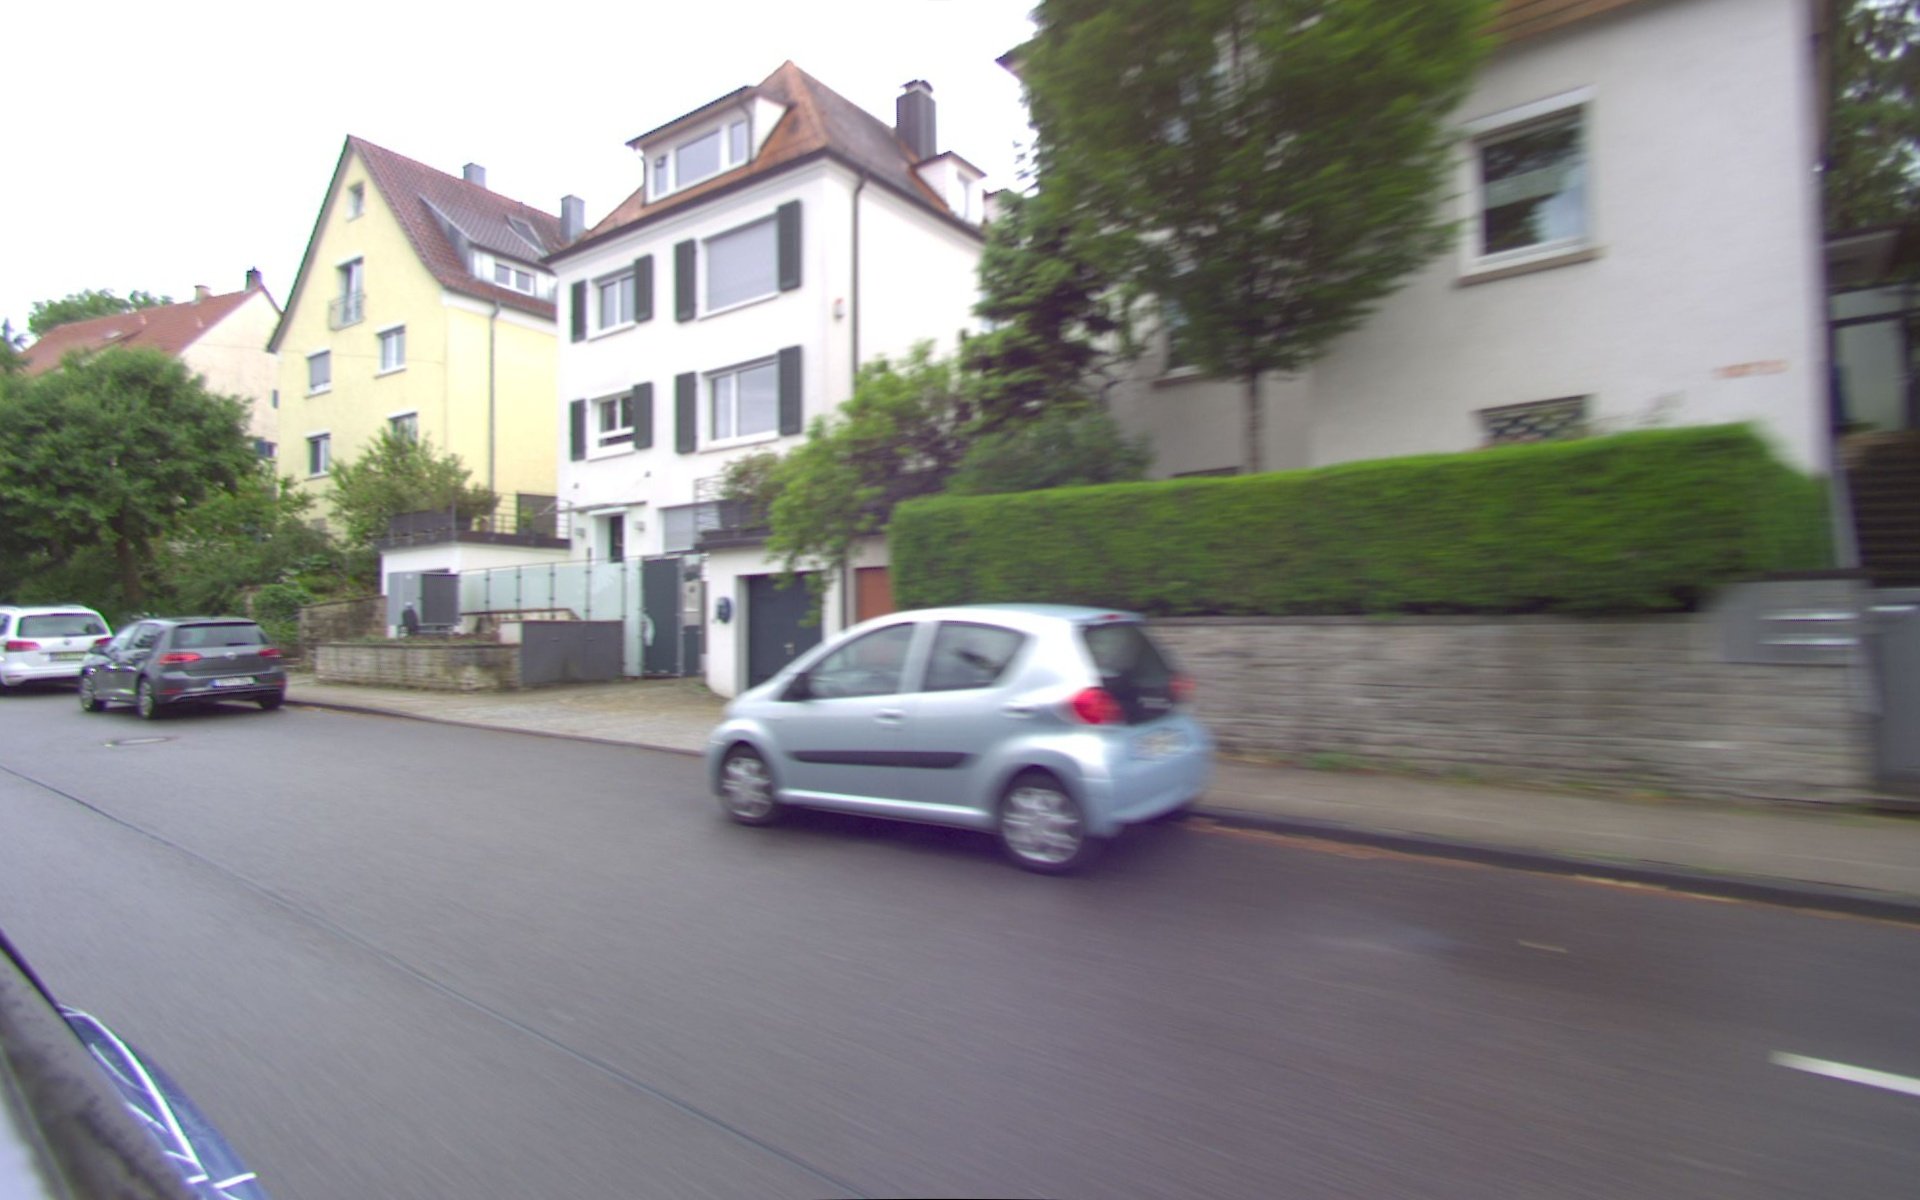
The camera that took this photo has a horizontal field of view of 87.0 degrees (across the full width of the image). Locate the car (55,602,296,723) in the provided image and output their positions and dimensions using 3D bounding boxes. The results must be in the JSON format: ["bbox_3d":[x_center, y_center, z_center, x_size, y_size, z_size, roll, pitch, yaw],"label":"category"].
[{"bbox_3d":[-12.317,0.924,15.827,4.128,1.592,1.777,-2,1,35],"label":"car"}]

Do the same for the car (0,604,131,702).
[{"bbox_3d":[-19.242,1.057,20.783,4.722,1.715,1.979,-2,1,32],"label":"car"}]

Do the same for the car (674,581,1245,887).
[{"bbox_3d":[-0.114,0.692,6.639,3.480,1.497,1.591,-2,-1,36],"label":"car"}]
